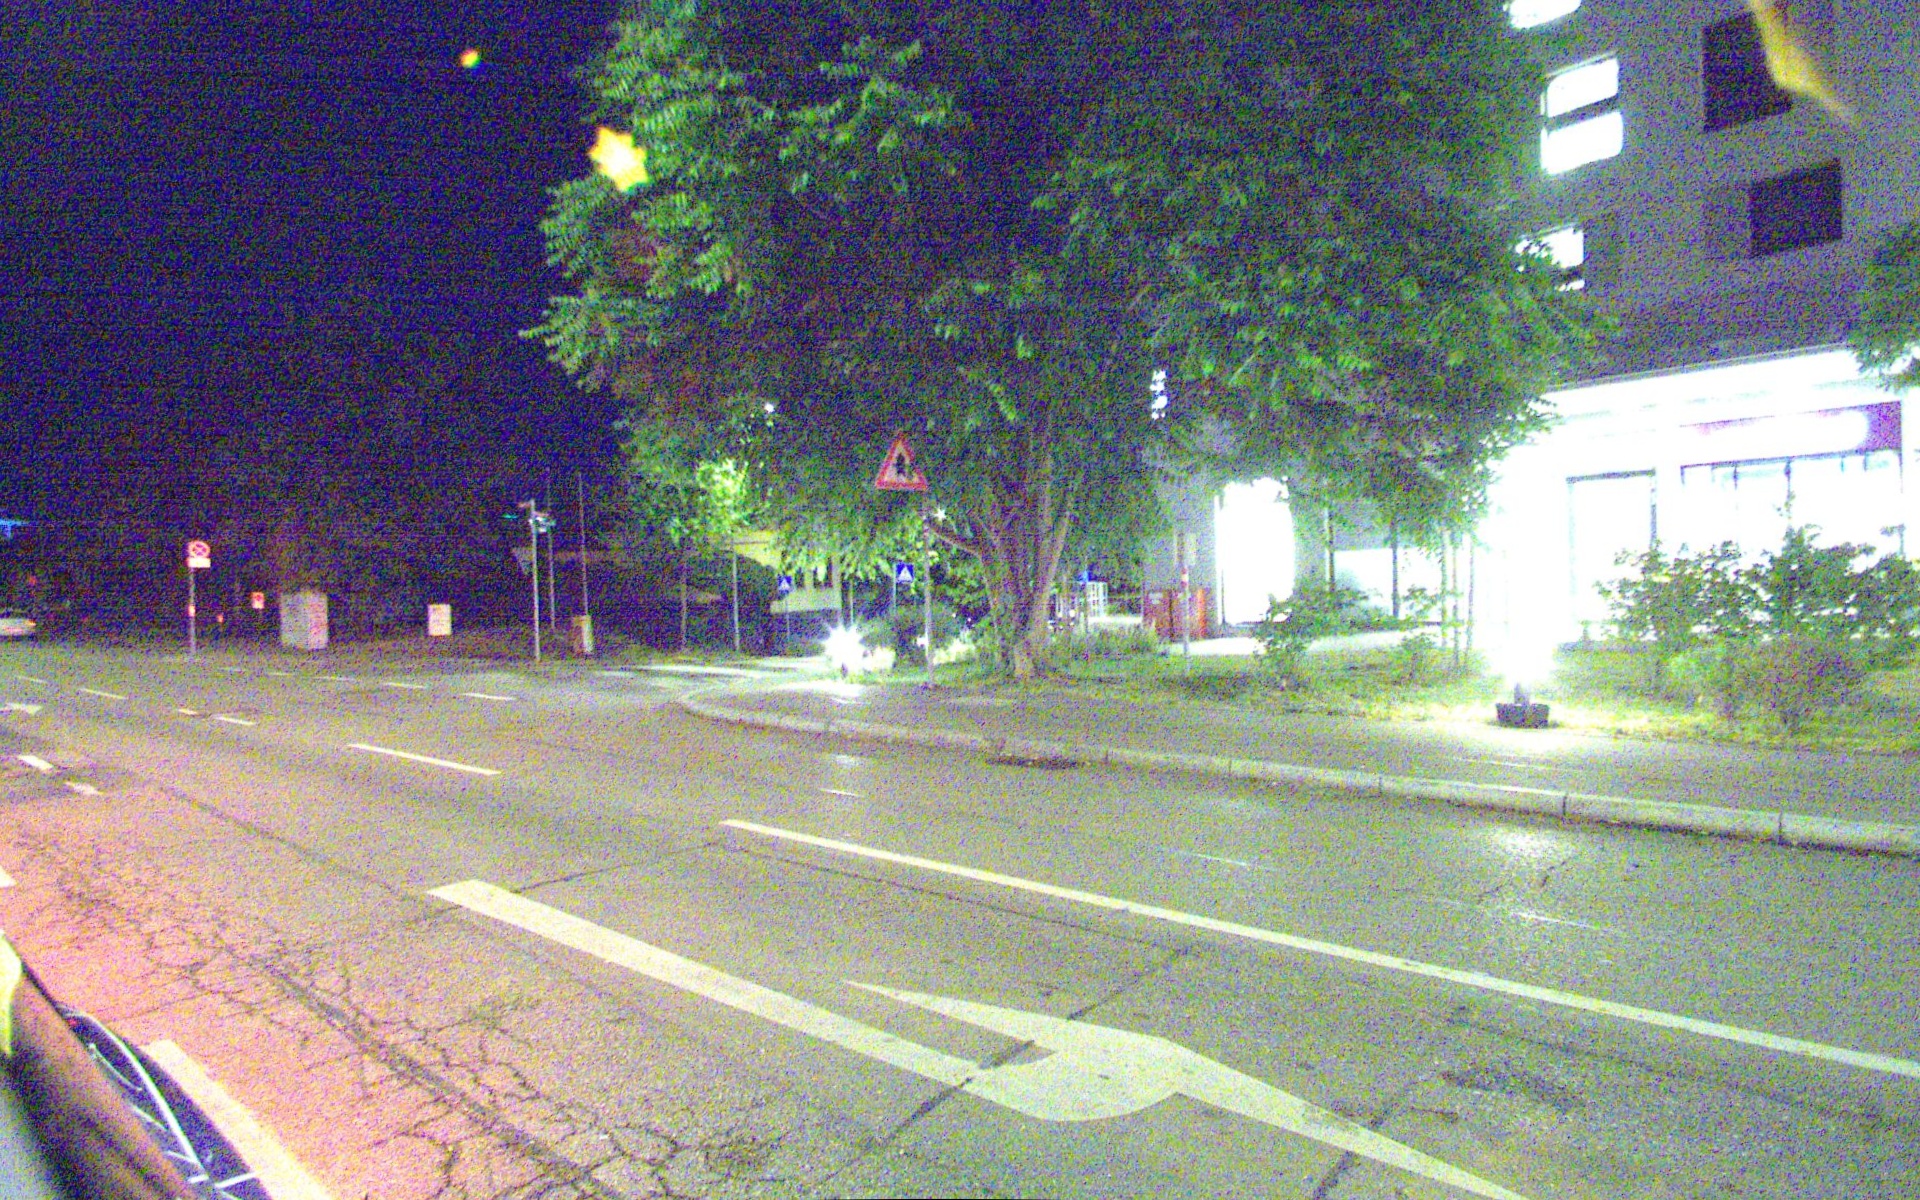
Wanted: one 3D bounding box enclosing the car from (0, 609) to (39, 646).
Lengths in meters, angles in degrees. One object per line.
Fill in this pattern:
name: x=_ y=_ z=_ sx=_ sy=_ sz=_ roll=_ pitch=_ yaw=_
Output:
car: x=-43.266 y=1.226 z=45.793 sx=3.998 sy=1.464 sz=1.887 roll=1 pitch=2 yaw=41
